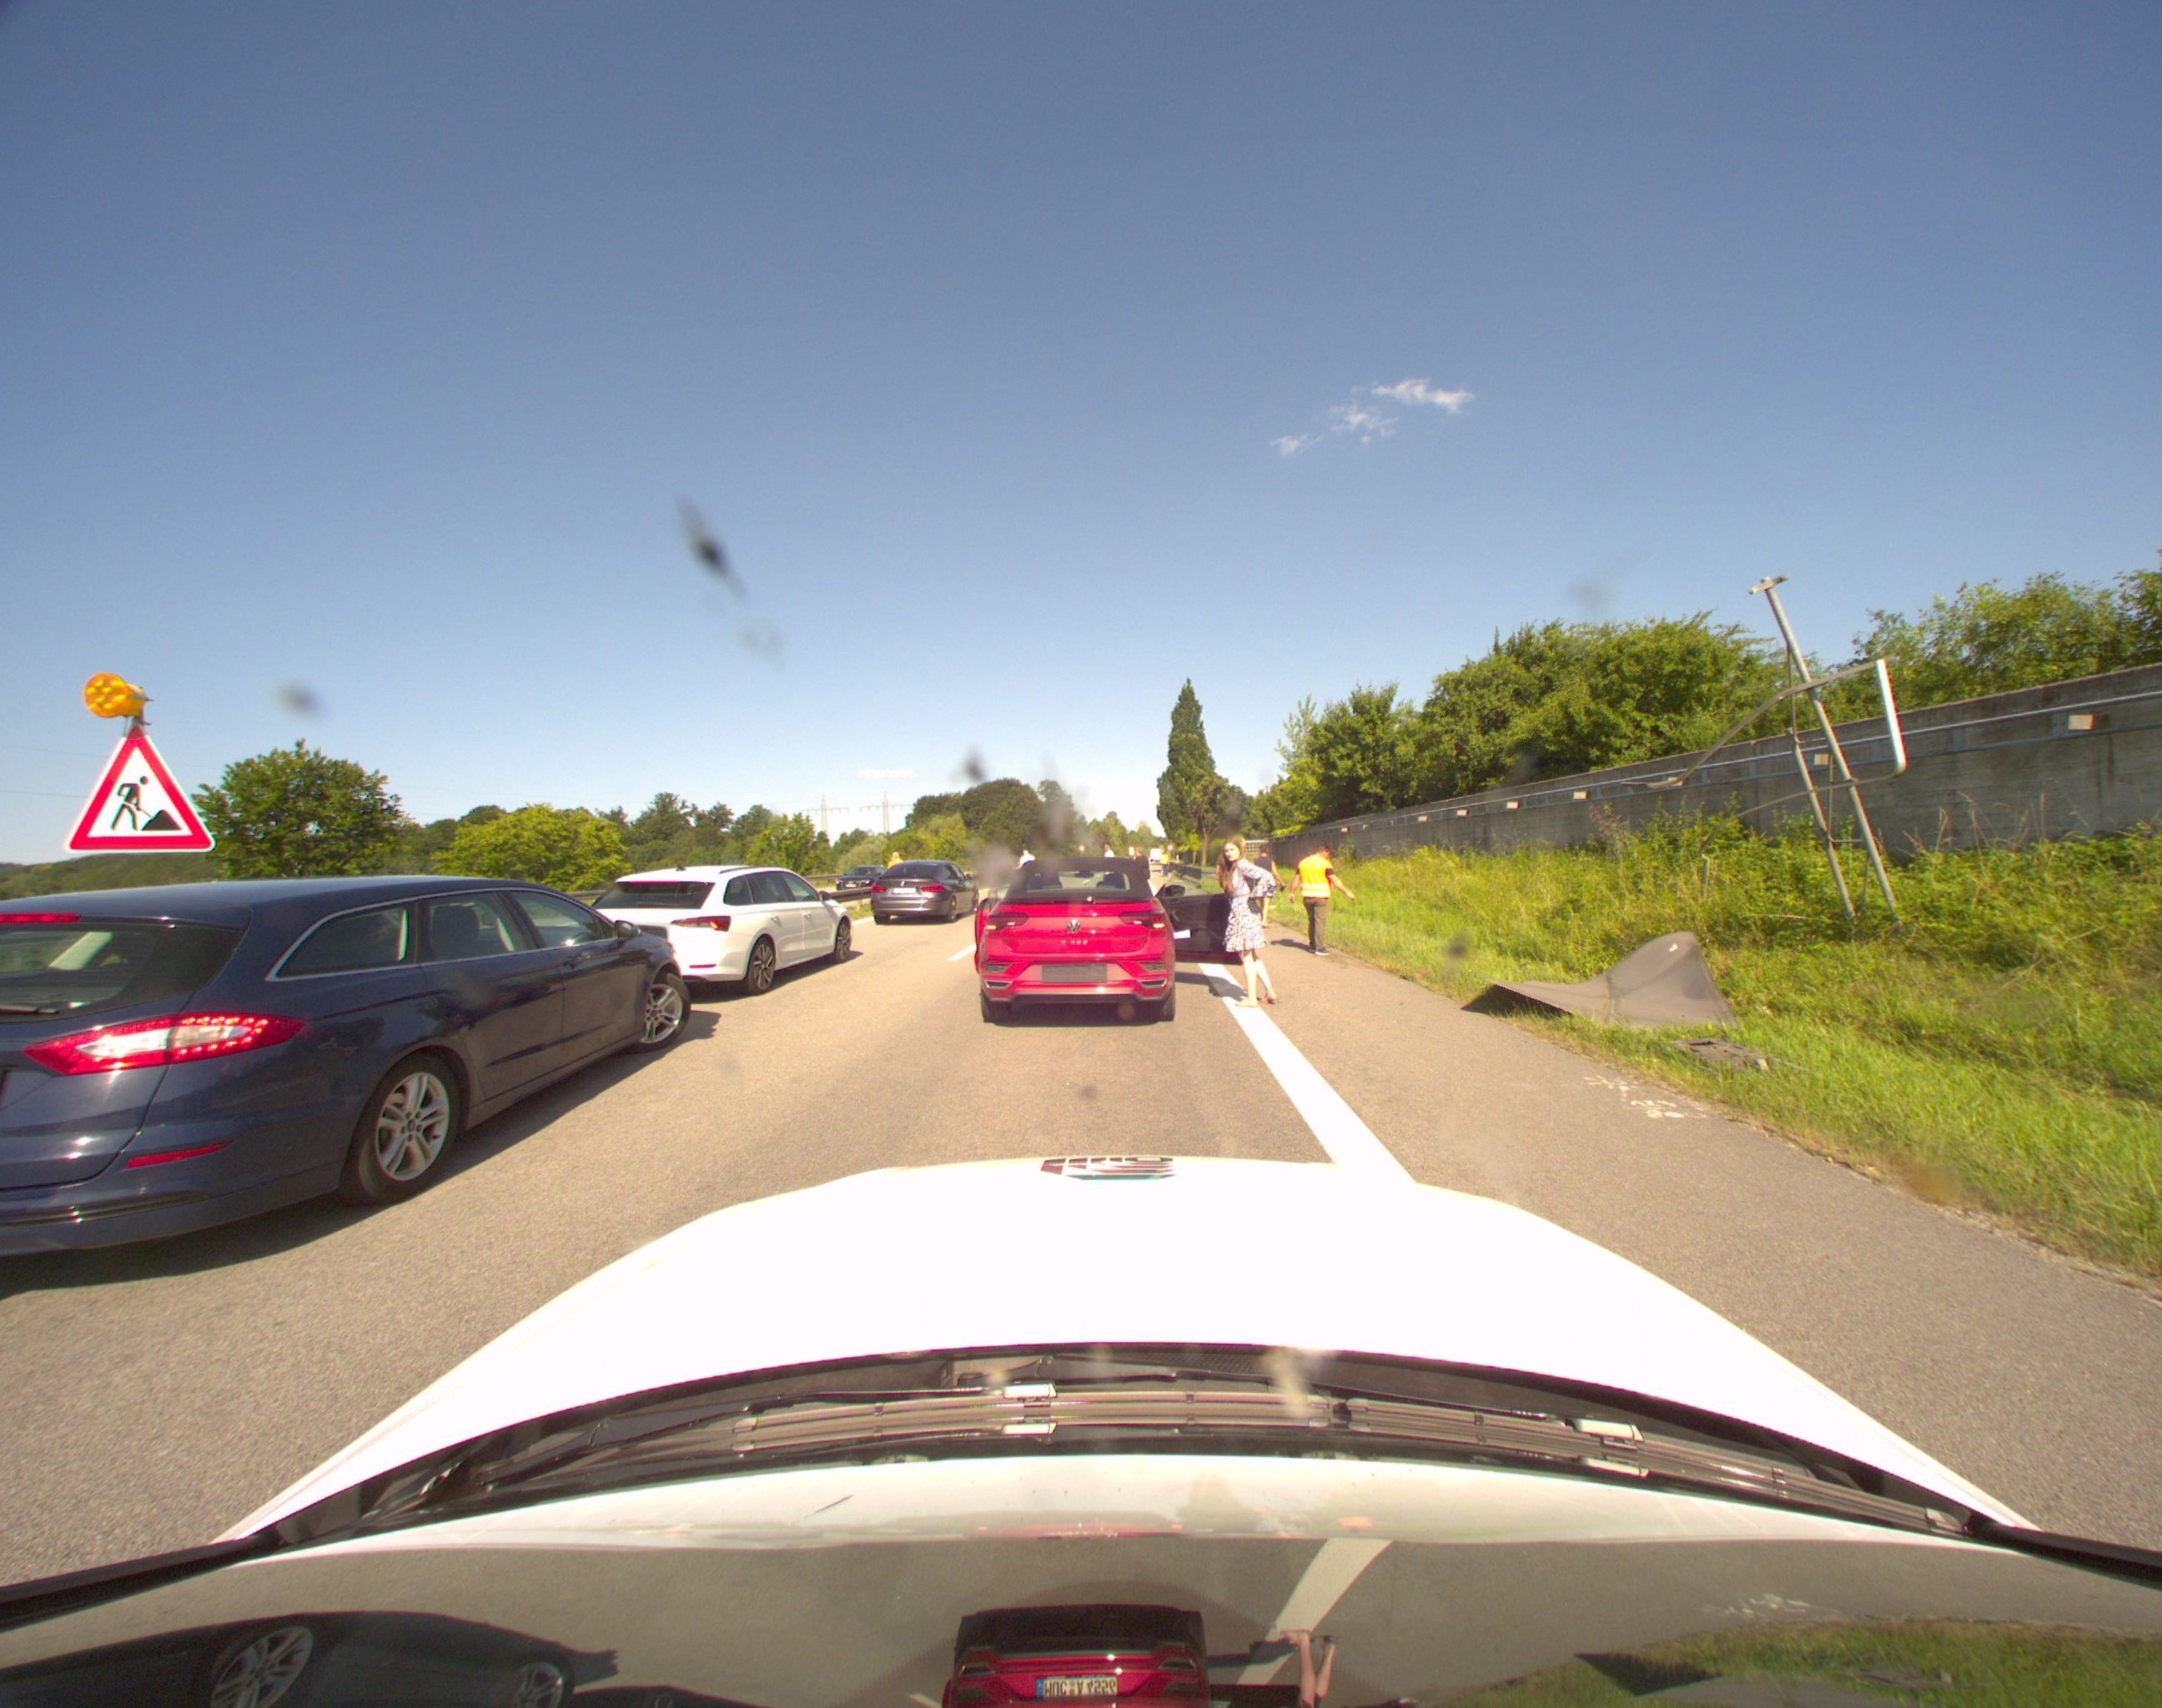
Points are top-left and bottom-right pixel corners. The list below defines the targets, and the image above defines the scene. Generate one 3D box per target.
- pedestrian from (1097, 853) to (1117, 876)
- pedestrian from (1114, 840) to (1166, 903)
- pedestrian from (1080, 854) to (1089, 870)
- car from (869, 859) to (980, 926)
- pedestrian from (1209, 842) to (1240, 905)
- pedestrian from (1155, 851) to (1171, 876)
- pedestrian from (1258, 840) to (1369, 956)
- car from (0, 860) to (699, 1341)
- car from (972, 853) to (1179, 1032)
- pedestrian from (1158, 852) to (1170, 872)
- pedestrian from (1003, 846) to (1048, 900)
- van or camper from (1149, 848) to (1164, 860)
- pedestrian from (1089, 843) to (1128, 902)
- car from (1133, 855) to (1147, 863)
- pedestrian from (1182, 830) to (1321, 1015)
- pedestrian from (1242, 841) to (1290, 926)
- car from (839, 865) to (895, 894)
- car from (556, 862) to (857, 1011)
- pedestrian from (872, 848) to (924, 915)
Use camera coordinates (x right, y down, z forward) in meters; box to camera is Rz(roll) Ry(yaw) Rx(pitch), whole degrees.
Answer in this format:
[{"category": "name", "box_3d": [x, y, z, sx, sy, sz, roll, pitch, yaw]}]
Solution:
[{"category": "pedestrian", "box_3d": [1.901, 0.780, 59.555, 0.977, 1.689, 1.105, 0, -1, -34]}, {"category": "pedestrian", "box_3d": [1.853, 0.543, 25.602, 1.098, 1.883, 1.057, -3, 0, -37]}, {"category": "pedestrian", "box_3d": [0.375, 0.862, 84.666, 0.787, 1.689, 0.794, 0, -1, 7]}, {"category": "car", "box_3d": [-3.709, 0.859, 20.077, 1.688, 1.426, 4.337, -1, 0, 3]}, {"category": "pedestrian", "box_3d": [4.088, 0.550, 23.181, 0.806, 1.759, 0.831, 0, -1, 12]}, {"category": "pedestrian", "box_3d": [5.757, 0.648, 56.903, 1.049, 1.689, 1.020, -1, -1, 9]}, {"category": "pedestrian", "box_3d": [3.544, 0.642, 12.487, 1.276, 1.653, 0.956, -2, 0, -15]}, {"category": "car", "box_3d": [-4.019, 0.809, 4.747, 1.785, 1.493, 4.484, -2, 0, -5]}, {"category": "car", "box_3d": [0.051, 0.746, 8.928, 1.725, 1.487, 4.213, -1, 0, 3]}, {"category": "pedestrian", "box_3d": [7.128, 0.695, 70.240, 0.991, 1.689, 1.012, 0, -1, 6]}, {"category": "pedestrian", "box_3d": [-1.907, 0.651, 27.890, 1.077, 1.789, 1.114, -1, -1, 42]}, {"category": "van or camper", "box_3d": [14.932, 0.081, 160.771, 1.977, 2.316, 4.492, -1, -1, 19]}, {"category": "pedestrian", "box_3d": [0.925, 0.604, 27.647, 1.104, 1.912, 1.255, -2, 0, -5]}, {"category": "car", "box_3d": [11.725, 0.944, 162.036, 1.718, 1.487, 4.231, -1, 0, 19]}, {"category": "pedestrian", "box_3d": [1.666, 0.640, 8.114, 1.122, 1.695, 0.892, -2, 0, -3]}, {"category": "pedestrian", "box_3d": [3.861, 0.612, 17.080, 0.890, 1.725, 0.756, 0, -1, 6]}, {"category": "car", "box_3d": [-11.650, 1.341, 44.673, 1.705, 1.425, 4.409, -1, 0, 3]}, {"category": "car", "box_3d": [-4.348, 0.854, 10.293, 1.688, 1.441, 4.213, -1, 0, 3]}, {"category": "pedestrian", "box_3d": [-5.011, 0.730, 22.358, 1.036, 1.763, 1.120, -2, 0, 5]}]
